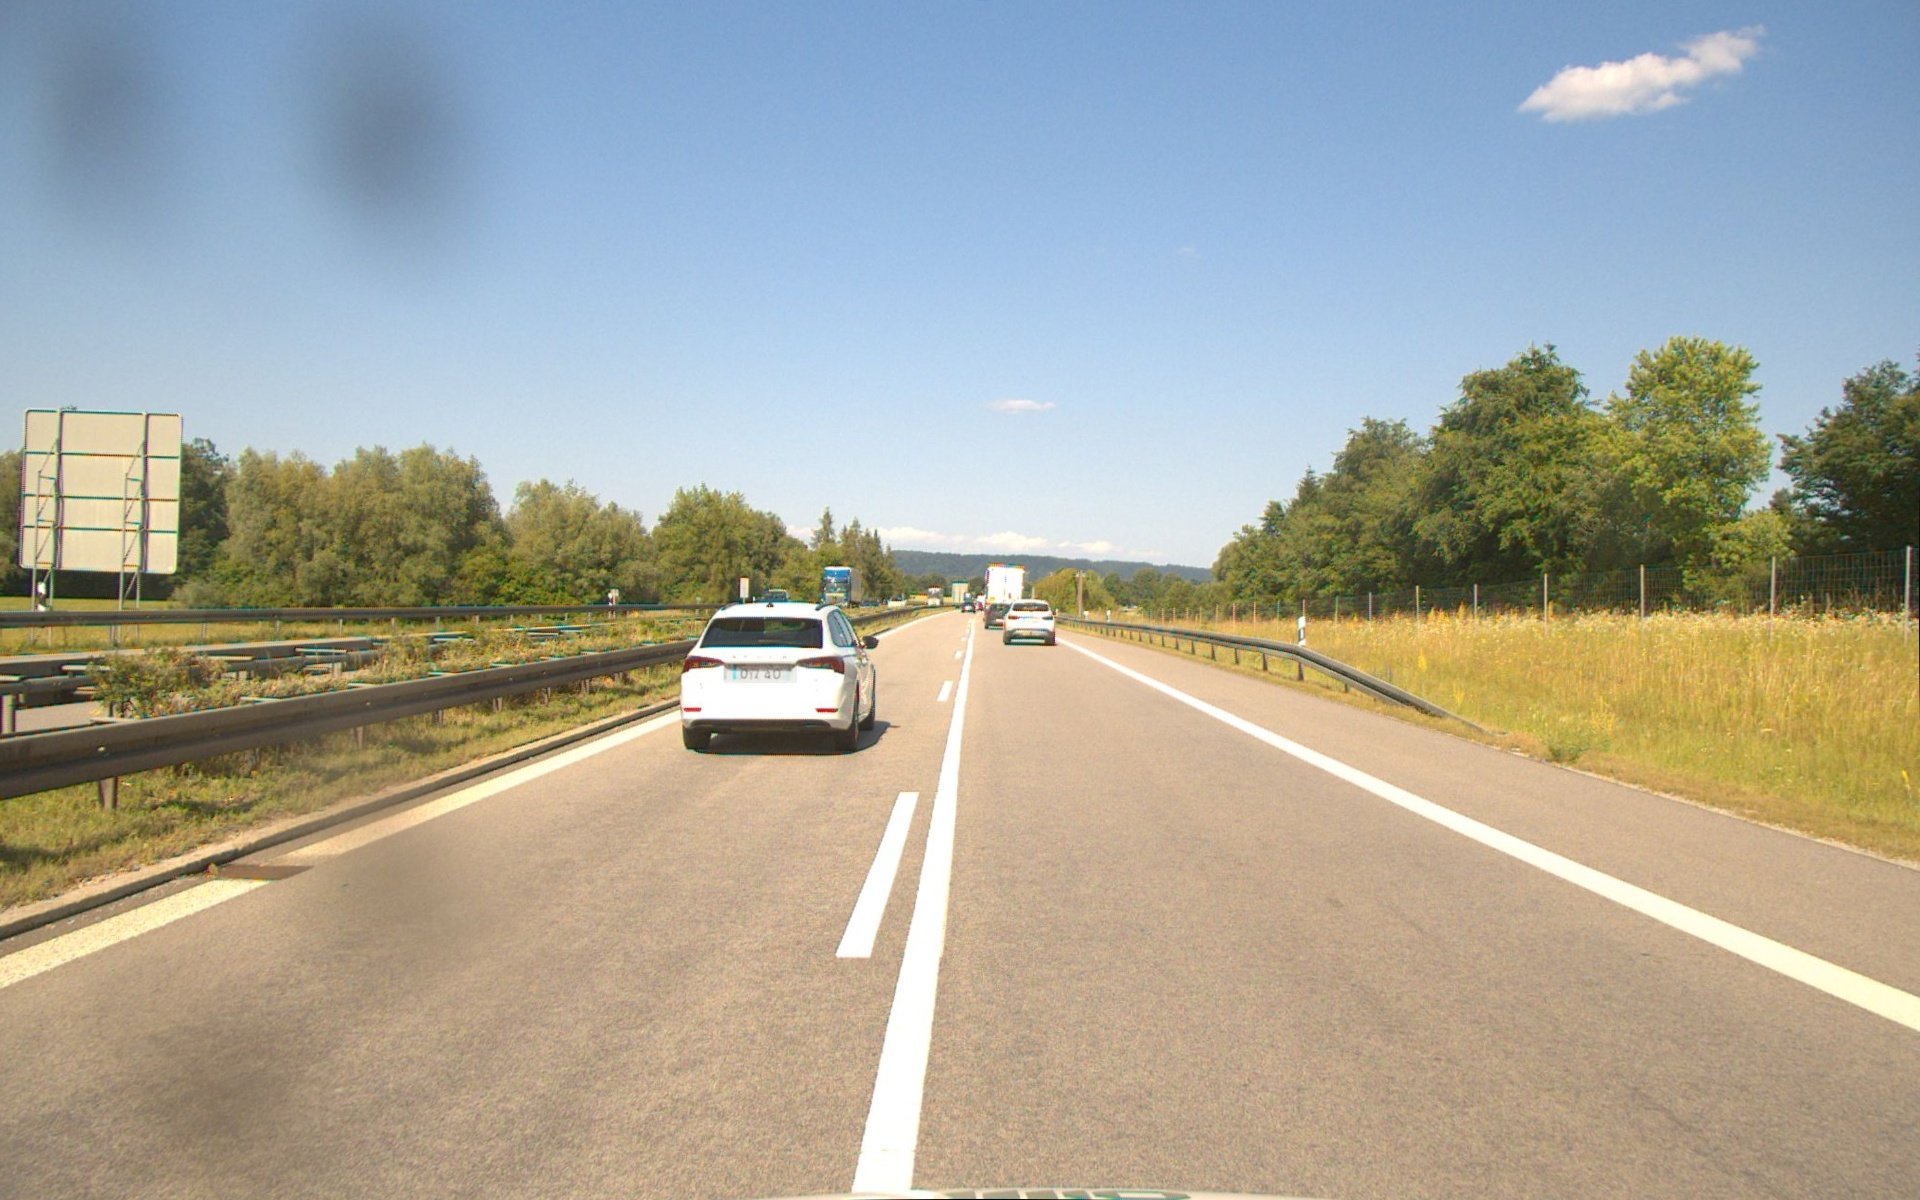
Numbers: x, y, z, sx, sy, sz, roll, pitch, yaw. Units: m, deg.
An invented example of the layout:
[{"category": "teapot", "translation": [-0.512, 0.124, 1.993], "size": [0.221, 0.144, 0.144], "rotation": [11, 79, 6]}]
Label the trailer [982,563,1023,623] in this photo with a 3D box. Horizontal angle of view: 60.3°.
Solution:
[{"category": "trailer", "translation": [3.133, -0.487, 120.852], "size": [2.760, 4.036, 14.163], "rotation": [1, 0, 2]}]

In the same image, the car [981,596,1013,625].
[{"category": "car", "translation": [2.038, 0.592, 92.021], "size": [1.631, 1.480, 4.545], "rotation": [3, 0, 1]}]

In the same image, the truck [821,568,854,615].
[{"category": "truck", "translation": [-11.523, -0.792, 155.905], "size": [2.684, 4.378, 6.334], "rotation": [1, 0, 0]}]

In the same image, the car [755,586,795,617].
[{"category": "car", "translation": [-11.307, 0.102, 101.198], "size": [1.811, 1.835, 4.871], "rotation": [0, 0, 1]}]

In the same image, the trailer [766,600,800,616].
[{"category": "trailer", "translation": [-11.287, 0.507, 105.655], "size": [1.706, 0.953, 4.020], "rotation": [1, 0, 0]}]

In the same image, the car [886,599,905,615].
[{"category": "car", "translation": [-7.175, 0.756, 183.964], "size": [1.953, 1.694, 4.633], "rotation": [0, 0, 0]}]

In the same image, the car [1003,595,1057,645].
[{"category": "car", "translation": [2.417, 0.672, 58.028], "size": [1.650, 1.521, 4.988], "rotation": [4, 1, 1]}]

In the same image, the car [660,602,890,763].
[{"category": "car", "translation": [-1.822, 0.769, 17.953], "size": [1.802, 1.446, 5.255], "rotation": [1, 0, 1]}]

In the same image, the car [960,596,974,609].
[{"category": "car", "translation": [0.893, 0.320, 210.175], "size": [1.735, 1.446, 4.495], "rotation": [3, 0, 1]}]
